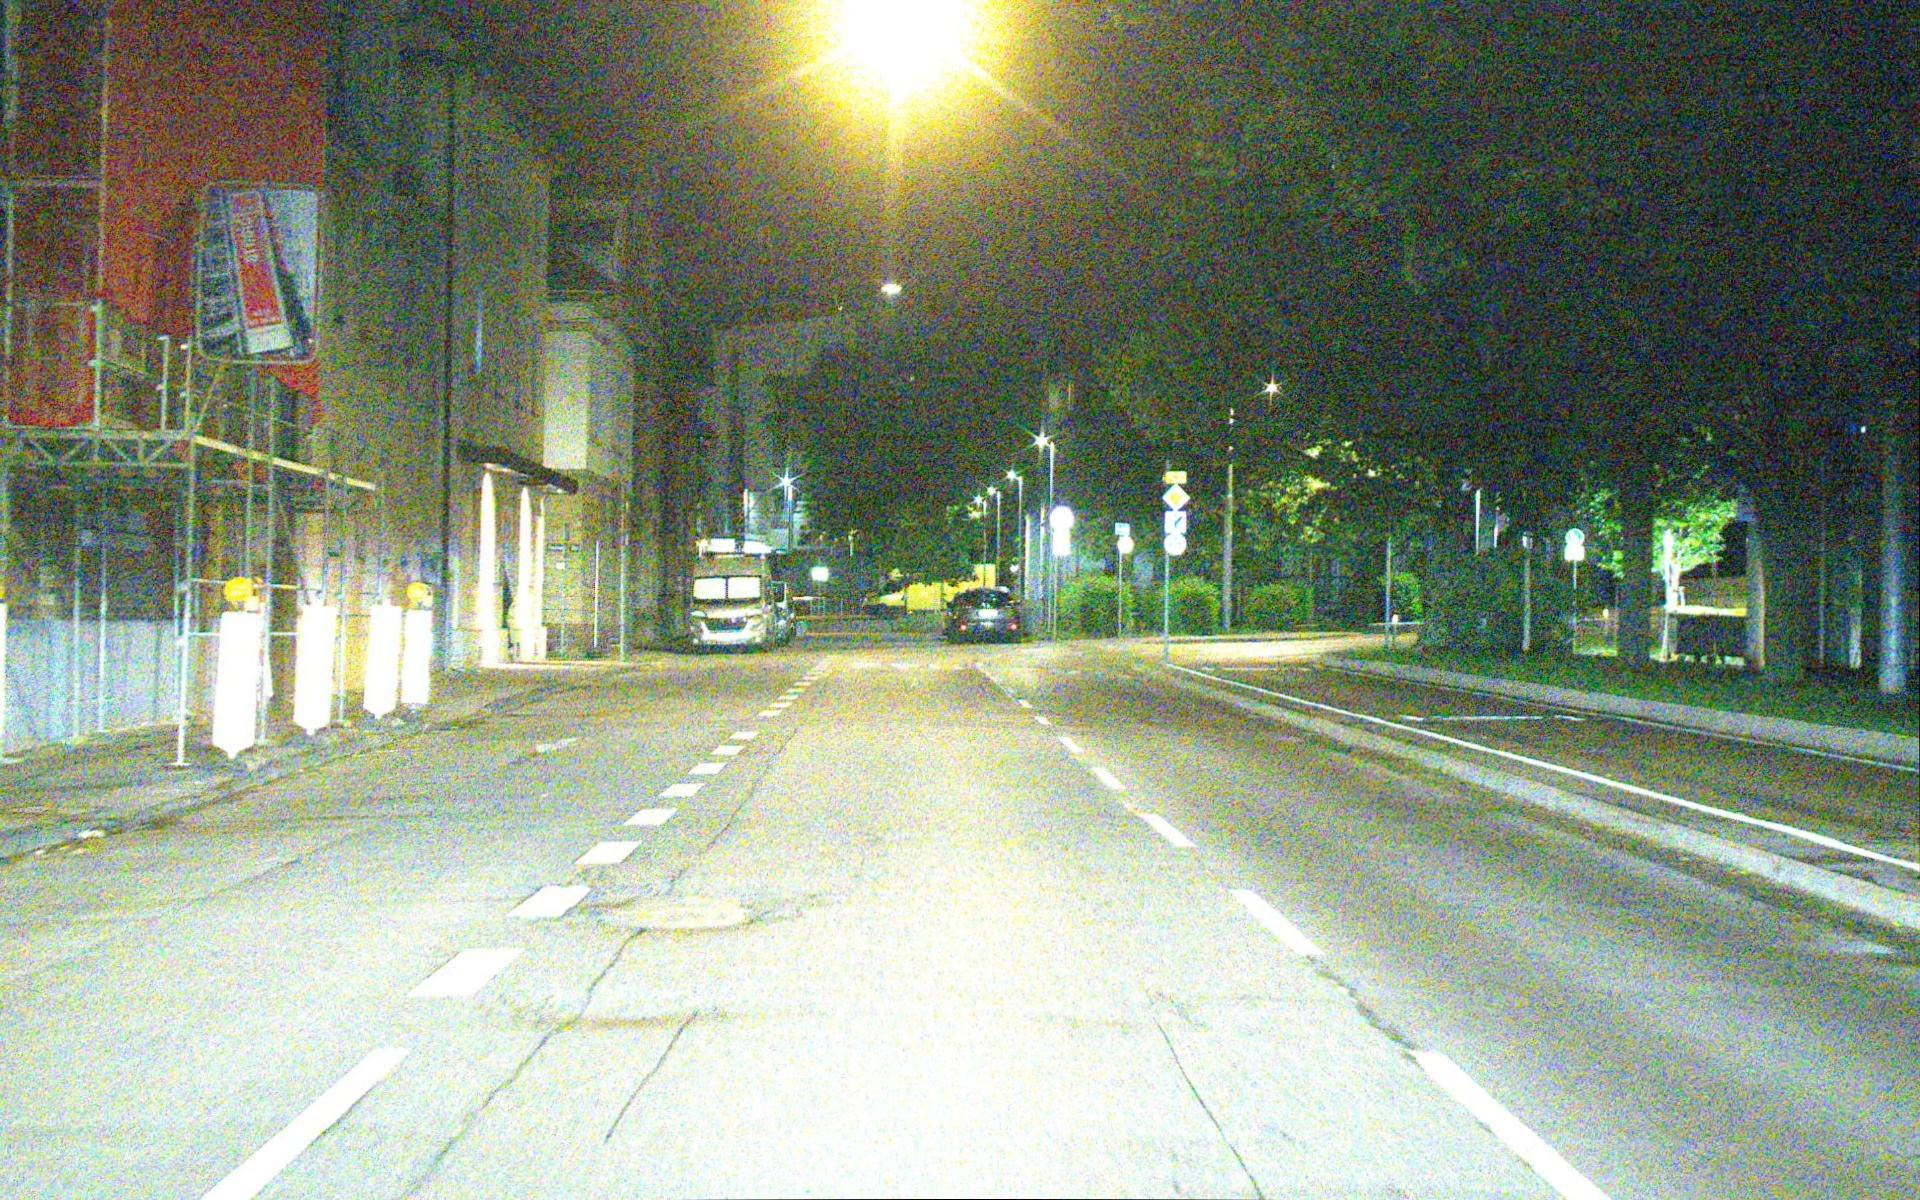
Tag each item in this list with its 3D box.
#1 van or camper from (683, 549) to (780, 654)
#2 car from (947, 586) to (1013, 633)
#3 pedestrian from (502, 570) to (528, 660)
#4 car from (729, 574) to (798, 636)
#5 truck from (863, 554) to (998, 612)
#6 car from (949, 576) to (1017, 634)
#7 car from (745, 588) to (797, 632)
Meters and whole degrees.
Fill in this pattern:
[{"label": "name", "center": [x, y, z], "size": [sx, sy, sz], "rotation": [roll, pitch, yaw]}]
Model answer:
[{"label": "van or camper", "center": [-5.852, 0.052, 88.607], "size": [2.158, 2.527, 6.227], "rotation": [-2, 0, -1]}, {"label": "car", "center": [0.592, 0.301, 104.527], "size": [1.963, 1.378, 4.000], "rotation": [0, -1, -1]}, {"label": "pedestrian", "center": [-8.434, 0.294, 65.152], "size": [0.415, 1.702, 0.442], "rotation": [0, -1, -17]}, {"label": "car", "center": [-6.250, 0.169, 109.772], "size": [1.993, 1.948, 4.806], "rotation": [0, 0, -1]}, {"label": "truck", "center": [-1.522, -0.859, 176.630], "size": [6.775, 2.835, 2.000], "rotation": [1, 0, -3]}, {"label": "car", "center": [0.671, 0.159, 99.120], "size": [1.884, 1.597, 4.107], "rotation": [-1, 0, 1]}, {"label": "car", "center": [-6.690, 0.361, 121.998], "size": [1.704, 1.505, 4.100], "rotation": [1, -1, -2]}]
